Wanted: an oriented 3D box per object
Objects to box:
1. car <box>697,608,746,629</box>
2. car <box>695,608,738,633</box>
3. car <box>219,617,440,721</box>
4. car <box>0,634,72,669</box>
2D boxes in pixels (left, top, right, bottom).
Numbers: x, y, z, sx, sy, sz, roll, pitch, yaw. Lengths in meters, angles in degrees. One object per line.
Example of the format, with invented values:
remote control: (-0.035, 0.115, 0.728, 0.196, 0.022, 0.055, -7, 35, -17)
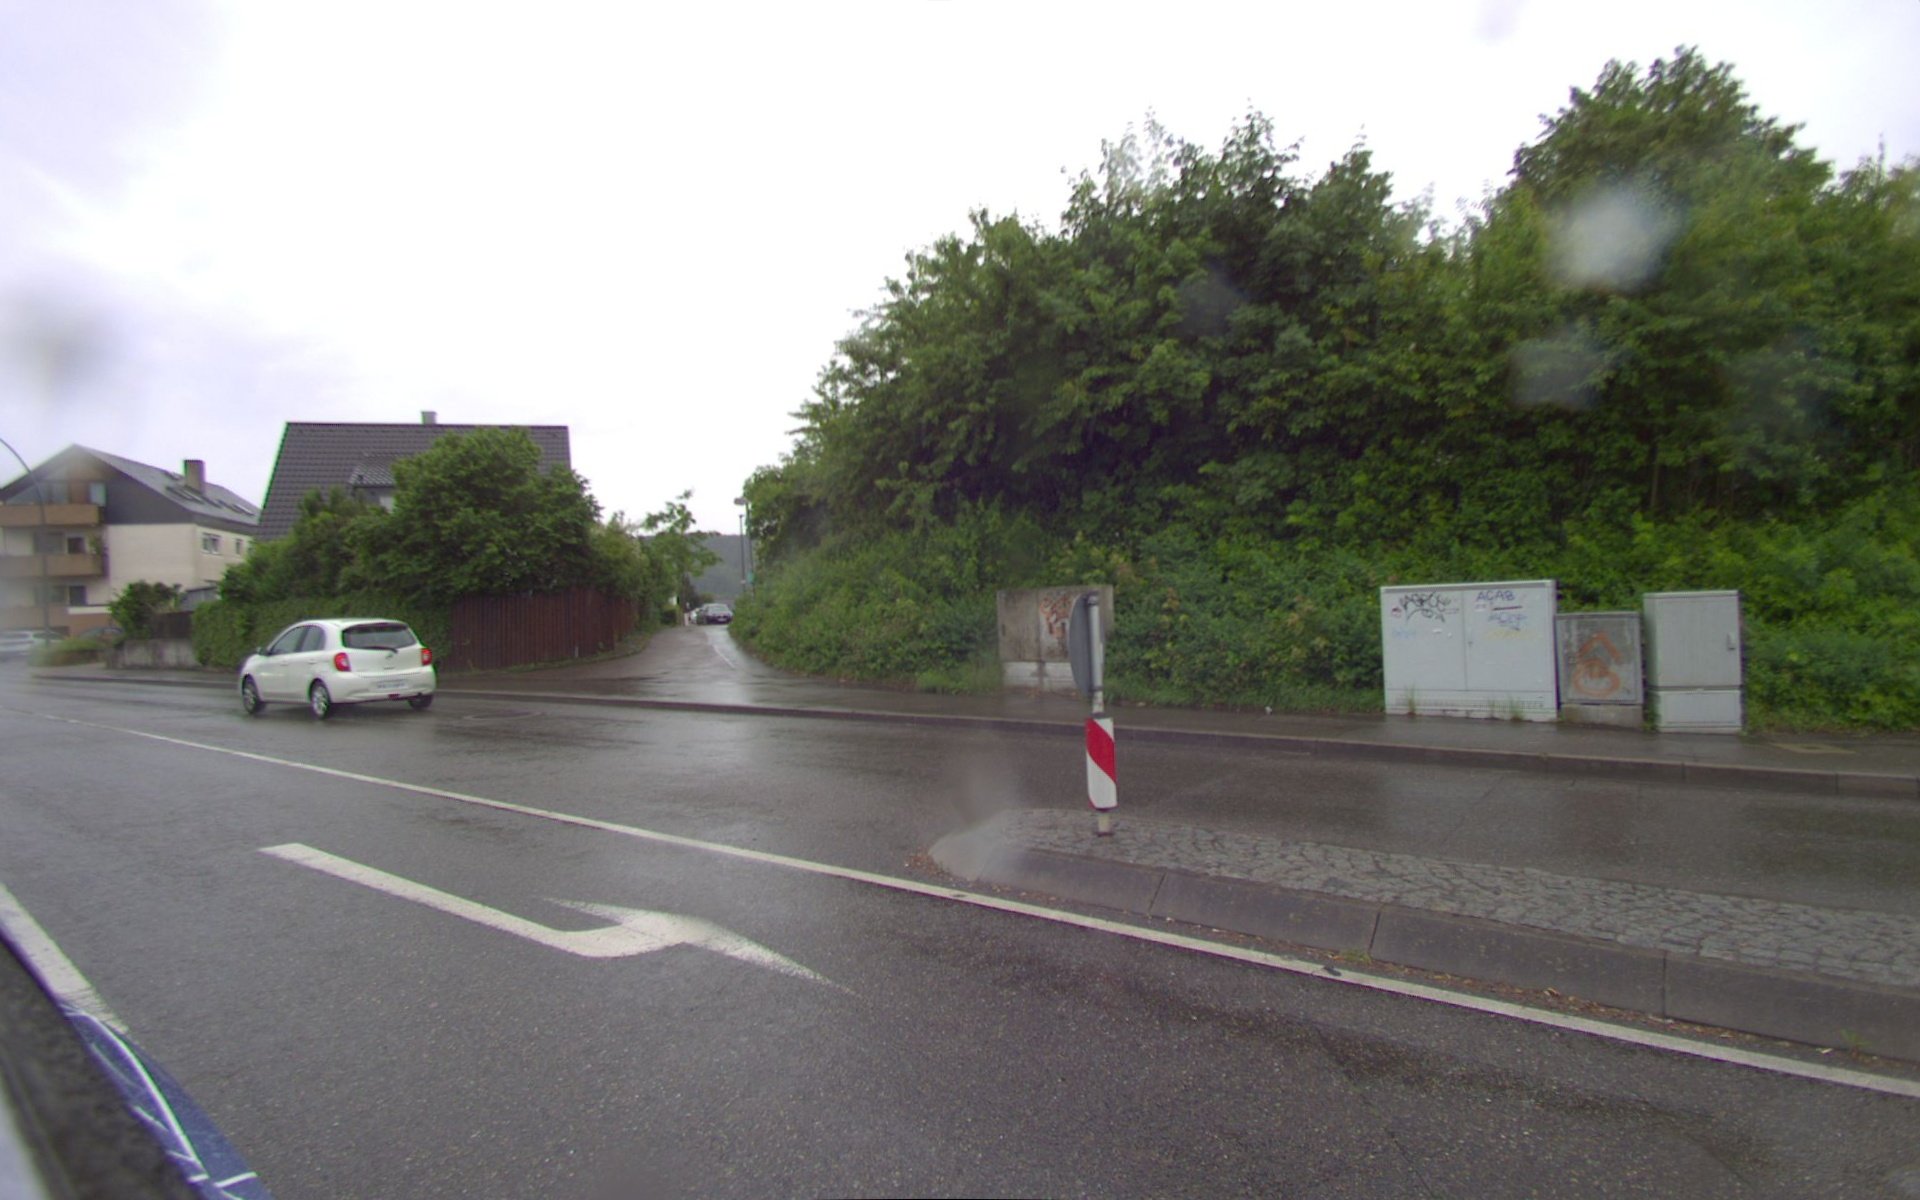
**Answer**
car: (-17.361, 1.339, 73.507, 1.967, 1.497, 4.009, -1, 0, -37)
car: (-15.876, 1.338, 65.960, 1.867, 1.494, 4.013, -1, -1, -26)
car: (-10.343, 1.068, 16.542, 3.811, 1.516, 1.607, -2, -2, 33)
car: (-46.705, 2.537, 50.755, 1.638, 1.558, 4.011, -1, 0, -15)
